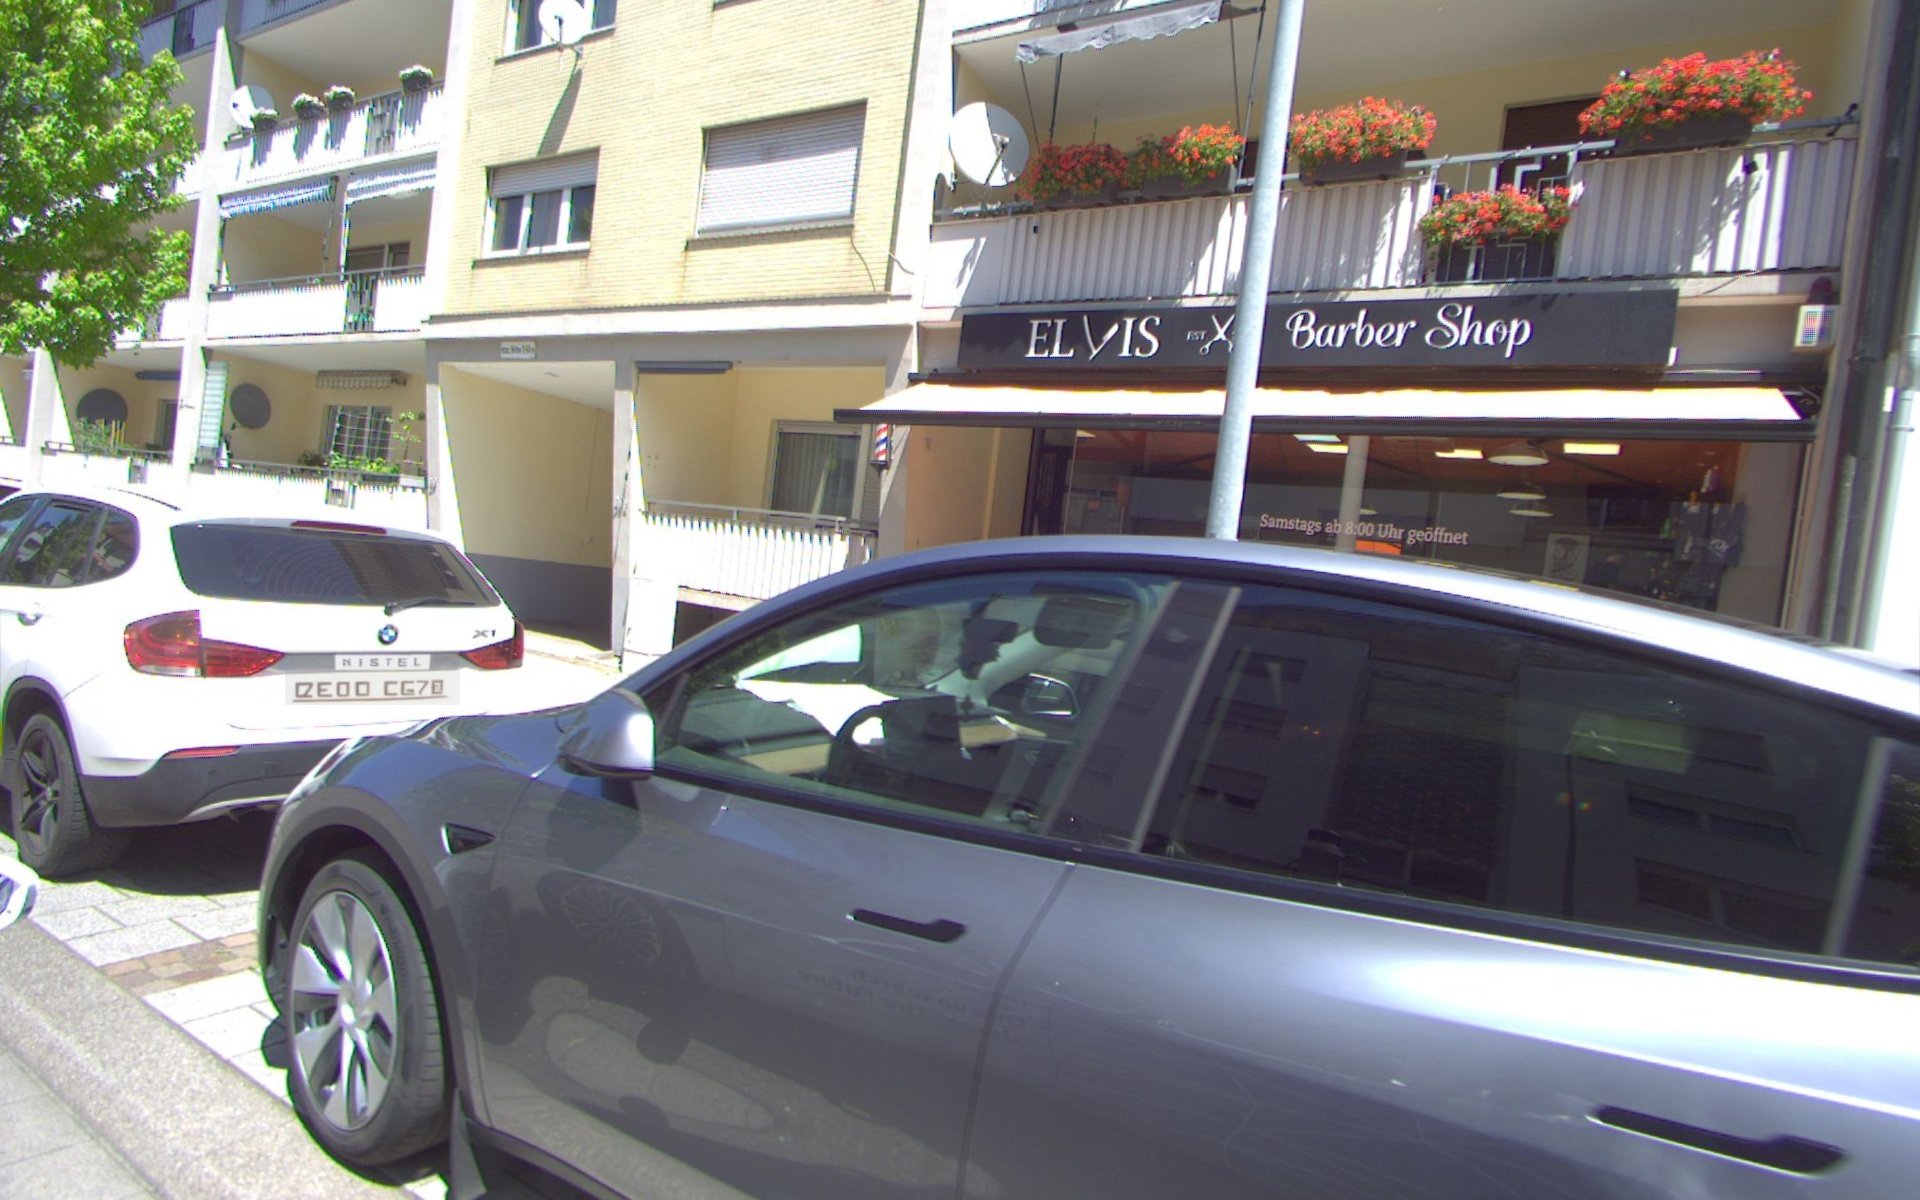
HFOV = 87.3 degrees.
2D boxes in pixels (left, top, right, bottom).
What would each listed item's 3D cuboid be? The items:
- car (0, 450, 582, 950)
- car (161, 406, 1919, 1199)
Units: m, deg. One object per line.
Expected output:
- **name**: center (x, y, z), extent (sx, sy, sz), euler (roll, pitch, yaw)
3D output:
- **car**: center (-4.029, 0.179, 5.112), extent (4.156, 1.604, 1.723), euler (7, 1, 33)
- **car**: center (0.368, 0.641, 2.188), extent (4.627, 1.728, 1.765), euler (7, 1, 32)
